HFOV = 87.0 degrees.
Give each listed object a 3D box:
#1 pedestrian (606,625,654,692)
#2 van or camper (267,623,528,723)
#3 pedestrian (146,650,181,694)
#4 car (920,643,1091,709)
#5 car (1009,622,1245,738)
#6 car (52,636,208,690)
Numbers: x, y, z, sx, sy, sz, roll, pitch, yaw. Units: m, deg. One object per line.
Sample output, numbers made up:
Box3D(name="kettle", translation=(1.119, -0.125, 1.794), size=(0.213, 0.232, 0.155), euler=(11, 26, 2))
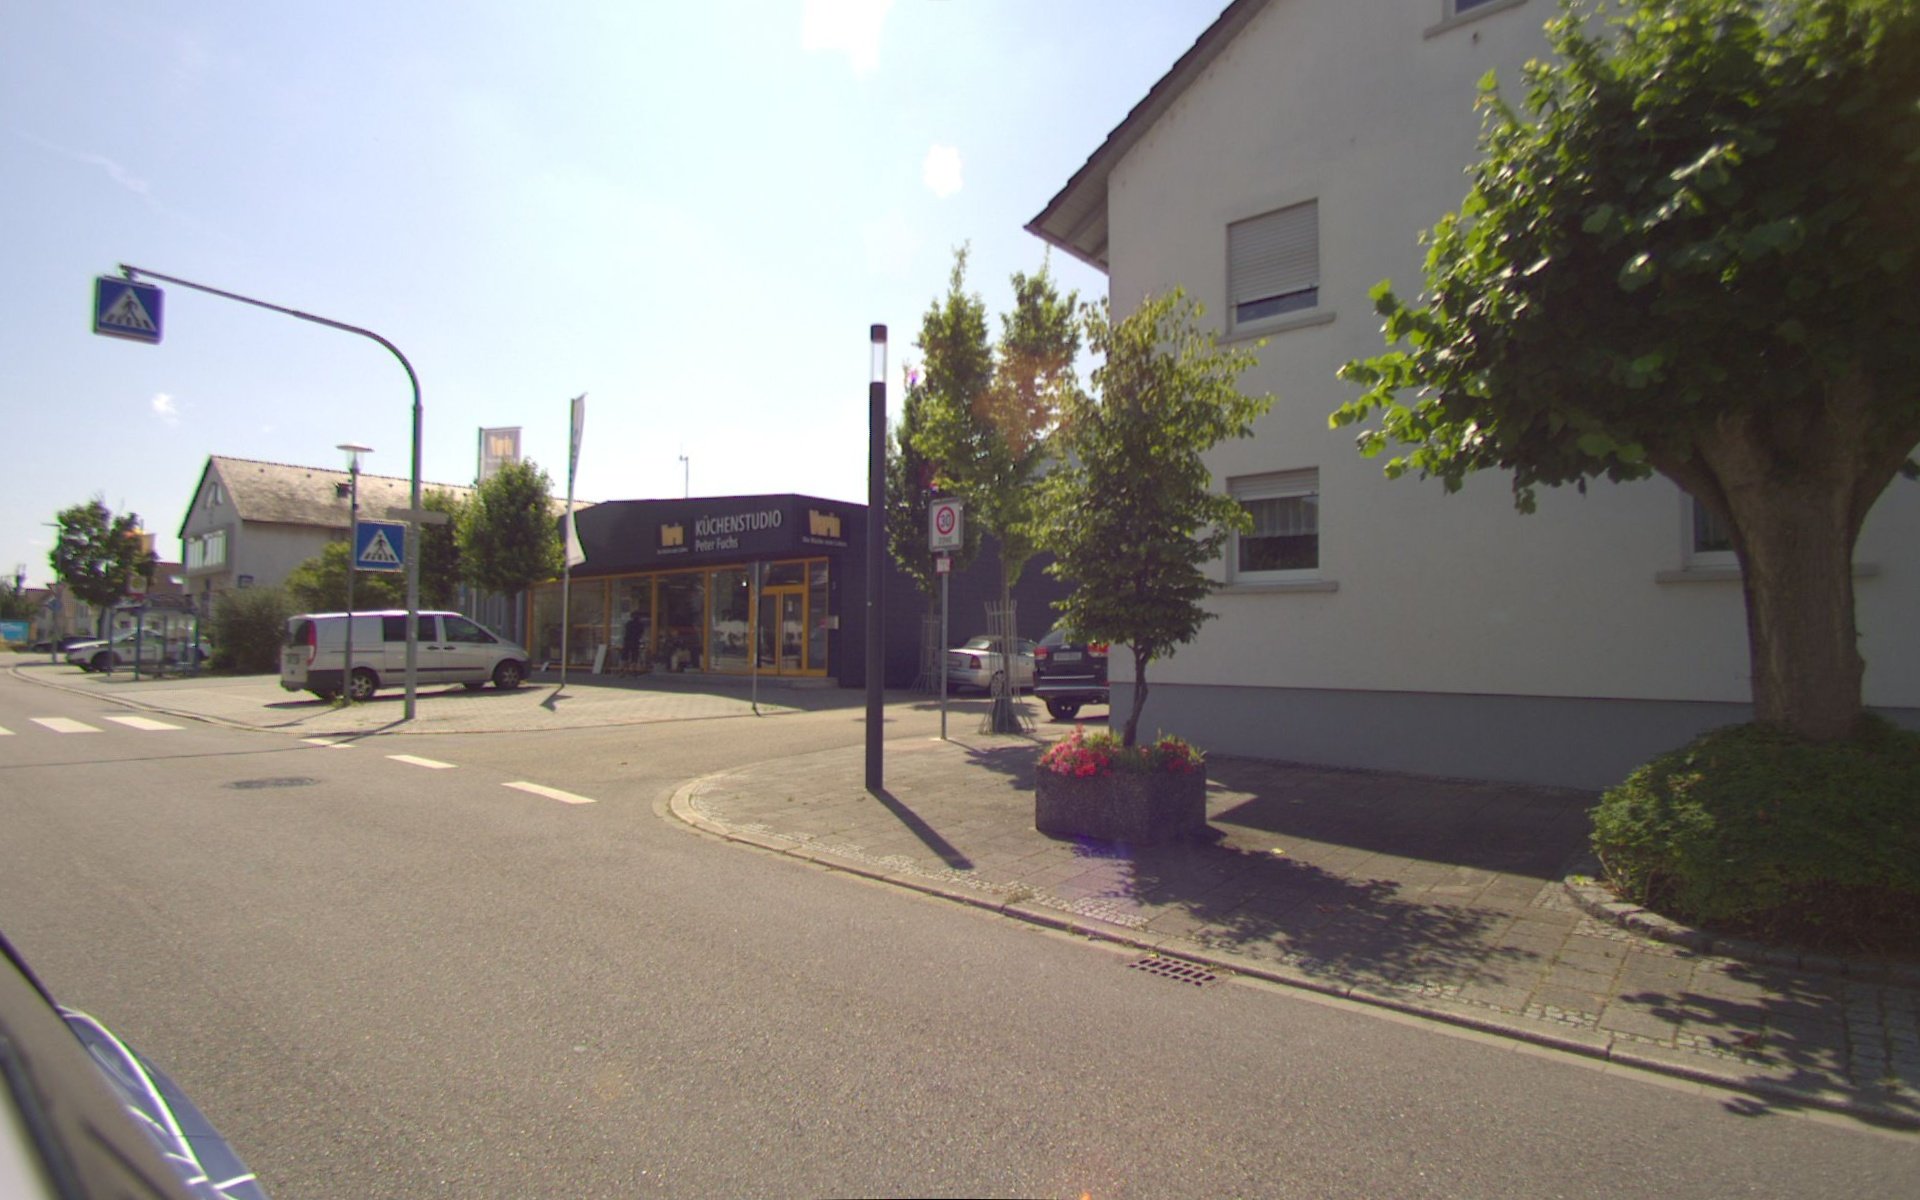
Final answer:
Box3D(name="pedestrian", translation=(-9.036, 1.588, 27.755), size=(0.922, 1.788, 1.069), euler=(0, -2, 4))
Box3D(name="van or camper", translation=(-12.412, 1.524, 22.583), size=(1.998, 1.877, 4.692), euler=(-2, -1, 40))
Box3D(name="pedestrian", translation=(-25.571, 2.315, 32.500), size=(0.607, 1.369, 0.776), euler=(-2, -2, 41))
Box3D(name="car", translation=(1.196, 1.777, 24.669), size=(1.866, 1.474, 4.378), euler=(-2, -3, 41))
Box3D(name="car", translation=(2.990, 1.288, 17.445), size=(1.999, 1.729, 4.378), euler=(-4, -4, 41))
Box3D(name="car", translation=(-31.164, 2.312, 38.095), size=(1.941, 1.732, 4.202), euler=(-1, 0, 35))
